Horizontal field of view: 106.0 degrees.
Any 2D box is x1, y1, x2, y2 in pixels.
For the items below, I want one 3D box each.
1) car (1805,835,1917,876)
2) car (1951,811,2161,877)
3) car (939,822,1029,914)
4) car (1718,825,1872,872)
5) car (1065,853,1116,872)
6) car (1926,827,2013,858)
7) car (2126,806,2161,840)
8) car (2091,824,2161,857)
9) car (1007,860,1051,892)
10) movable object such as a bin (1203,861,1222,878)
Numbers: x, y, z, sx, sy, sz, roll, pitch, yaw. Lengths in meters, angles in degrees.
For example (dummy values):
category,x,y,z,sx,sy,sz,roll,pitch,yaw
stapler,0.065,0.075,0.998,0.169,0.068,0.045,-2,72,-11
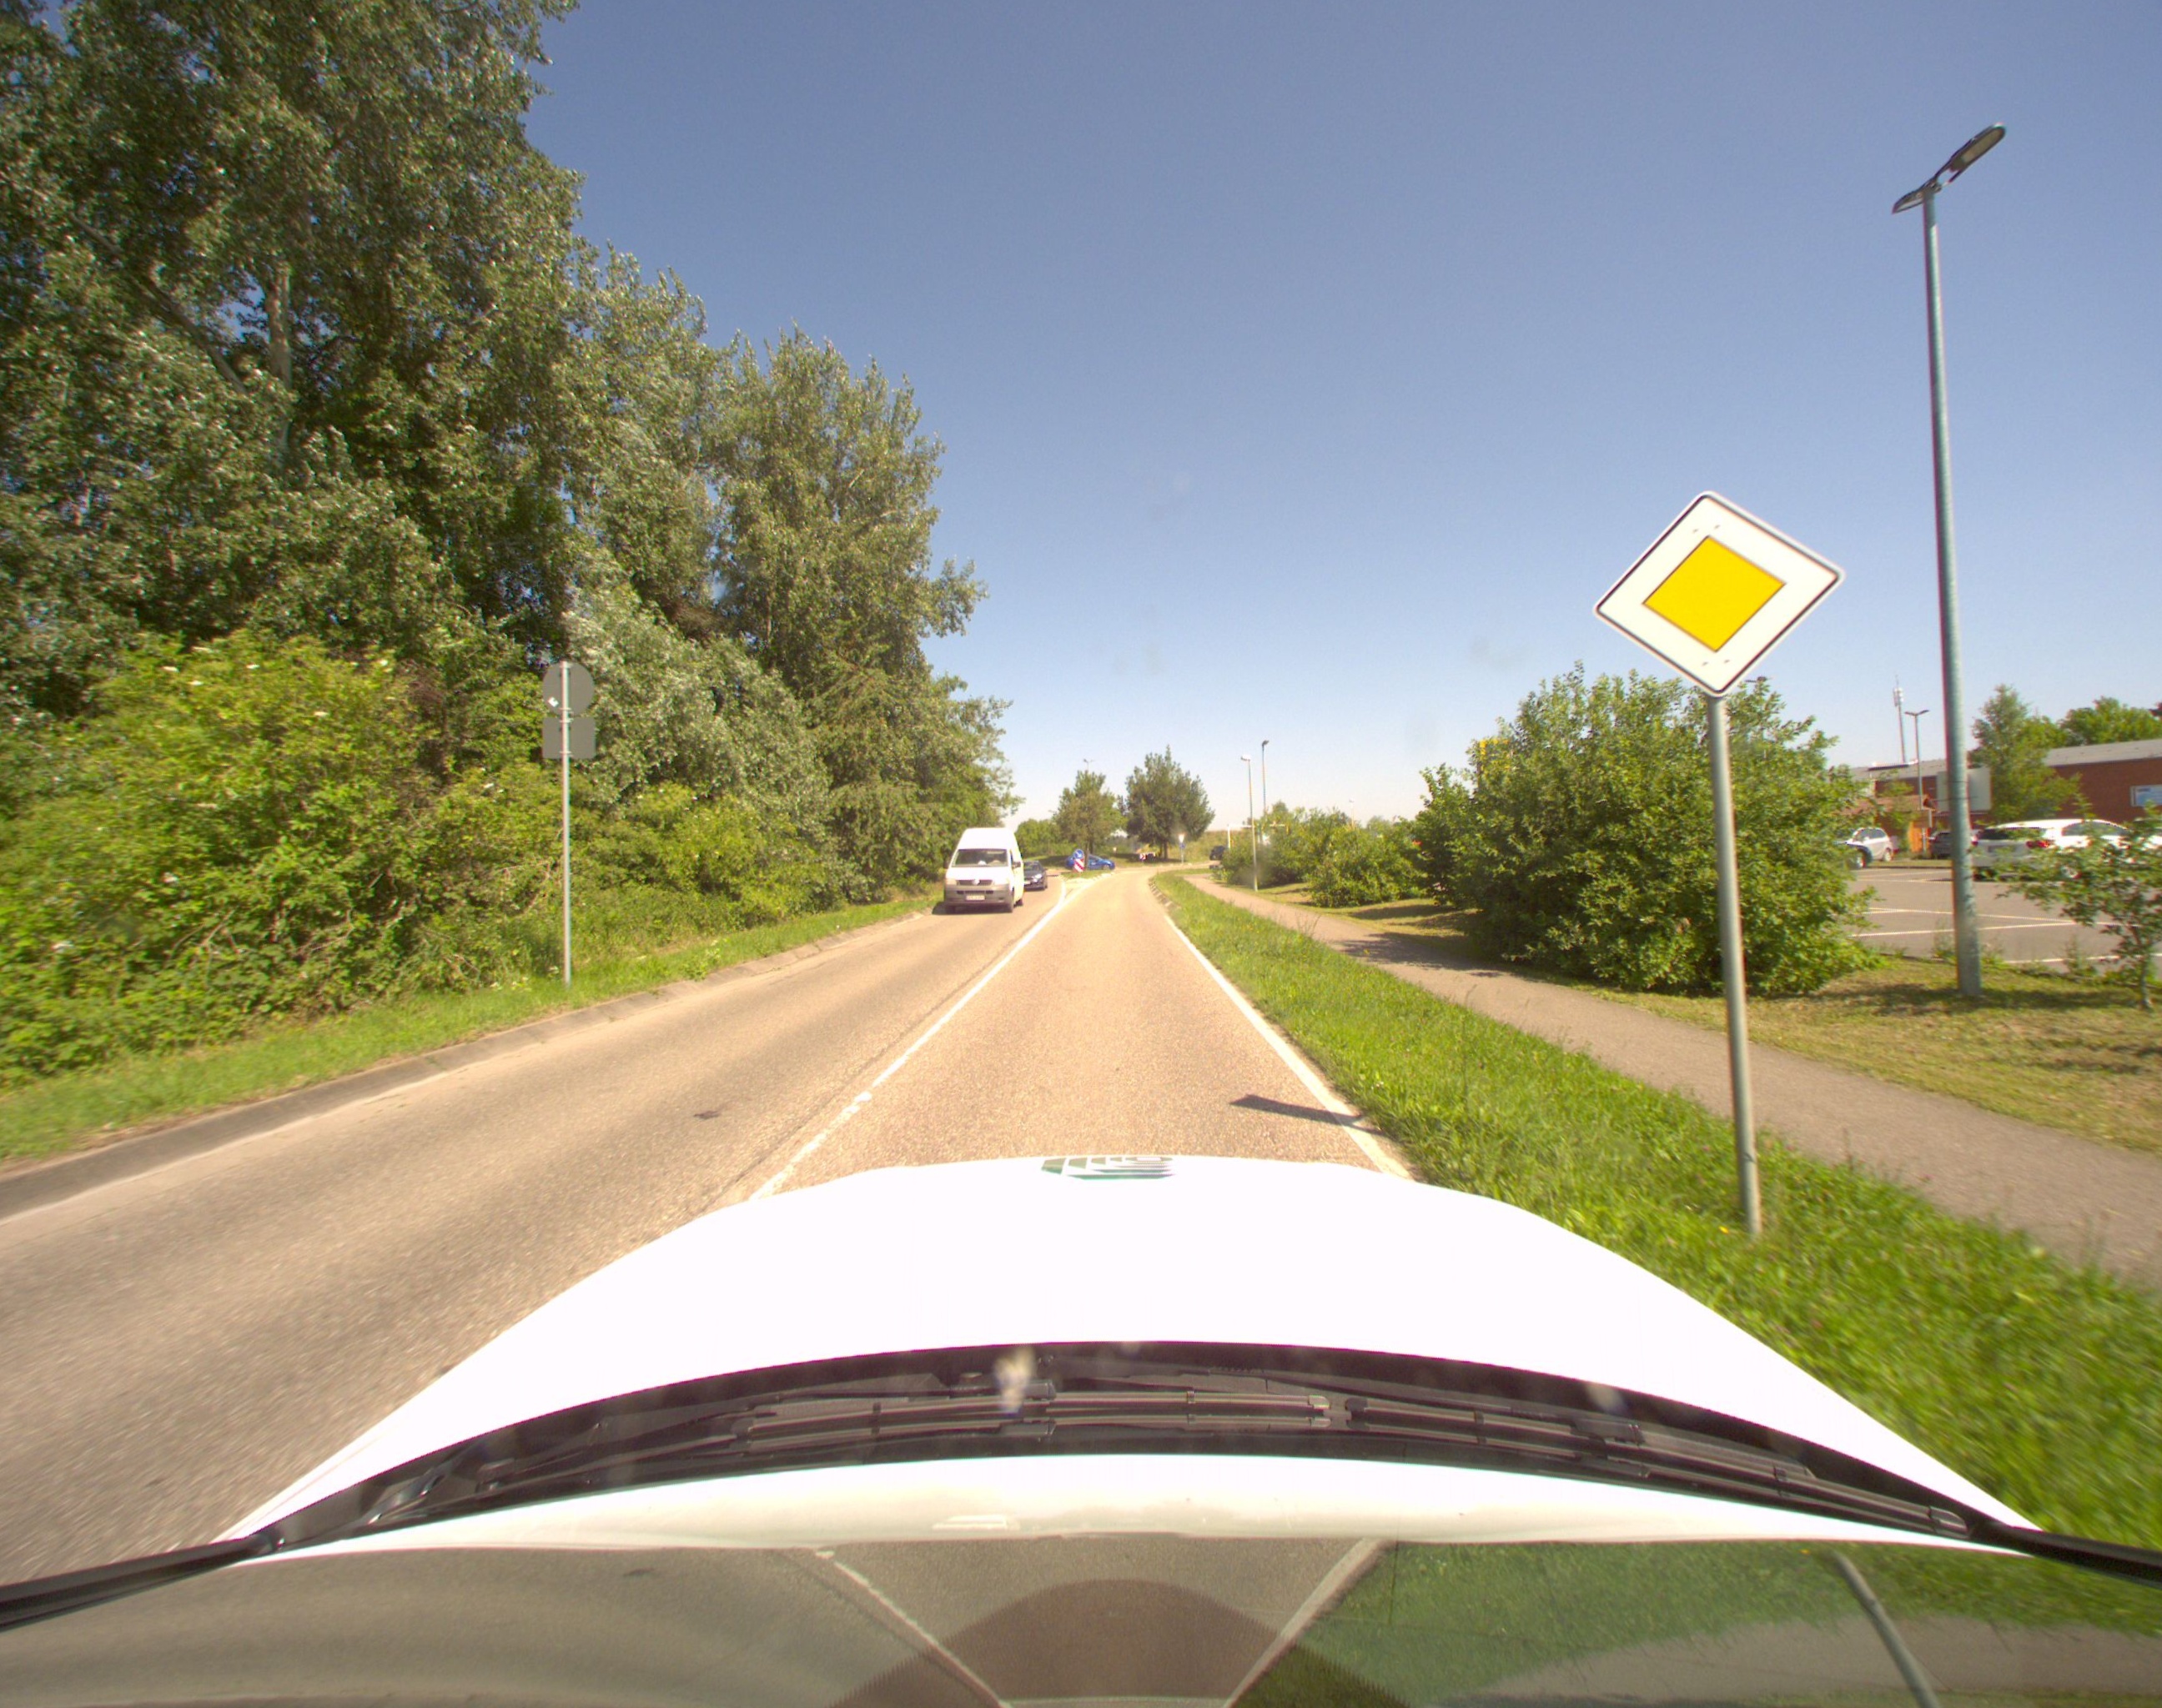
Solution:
category,x,y,z,sx,sy,sz,roll,pitch,yaw
car,34.001,0.089,35.489,4.567,1.702,1.984,0,-1,-25
car,24.473,-0.243,20.274,3.959,1.453,1.899,-2,0,-8
car,-2.749,0.377,24.188,1.905,2.400,4.911,-2,0,1
car,24.676,-0.194,28.225,3.980,1.427,1.746,-2,0,-5
car,0.846,0.742,73.852,4.405,1.571,1.713,-2,0,-5
car,45.448,-0.597,41.658,4.008,1.486,1.951,-2,0,-26
car,61.291,-1.781,46.062,4.010,1.816,1.982,-2,0,-28
car,48.139,-0.629,36.768,4.000,1.354,1.987,-2,0,-20
car,-2.499,1.051,39.887,1.692,1.389,4.295,-2,0,2
movable object such as a bin,9.321,1.074,57.644,0.859,1.120,1.464,-2,0,30
